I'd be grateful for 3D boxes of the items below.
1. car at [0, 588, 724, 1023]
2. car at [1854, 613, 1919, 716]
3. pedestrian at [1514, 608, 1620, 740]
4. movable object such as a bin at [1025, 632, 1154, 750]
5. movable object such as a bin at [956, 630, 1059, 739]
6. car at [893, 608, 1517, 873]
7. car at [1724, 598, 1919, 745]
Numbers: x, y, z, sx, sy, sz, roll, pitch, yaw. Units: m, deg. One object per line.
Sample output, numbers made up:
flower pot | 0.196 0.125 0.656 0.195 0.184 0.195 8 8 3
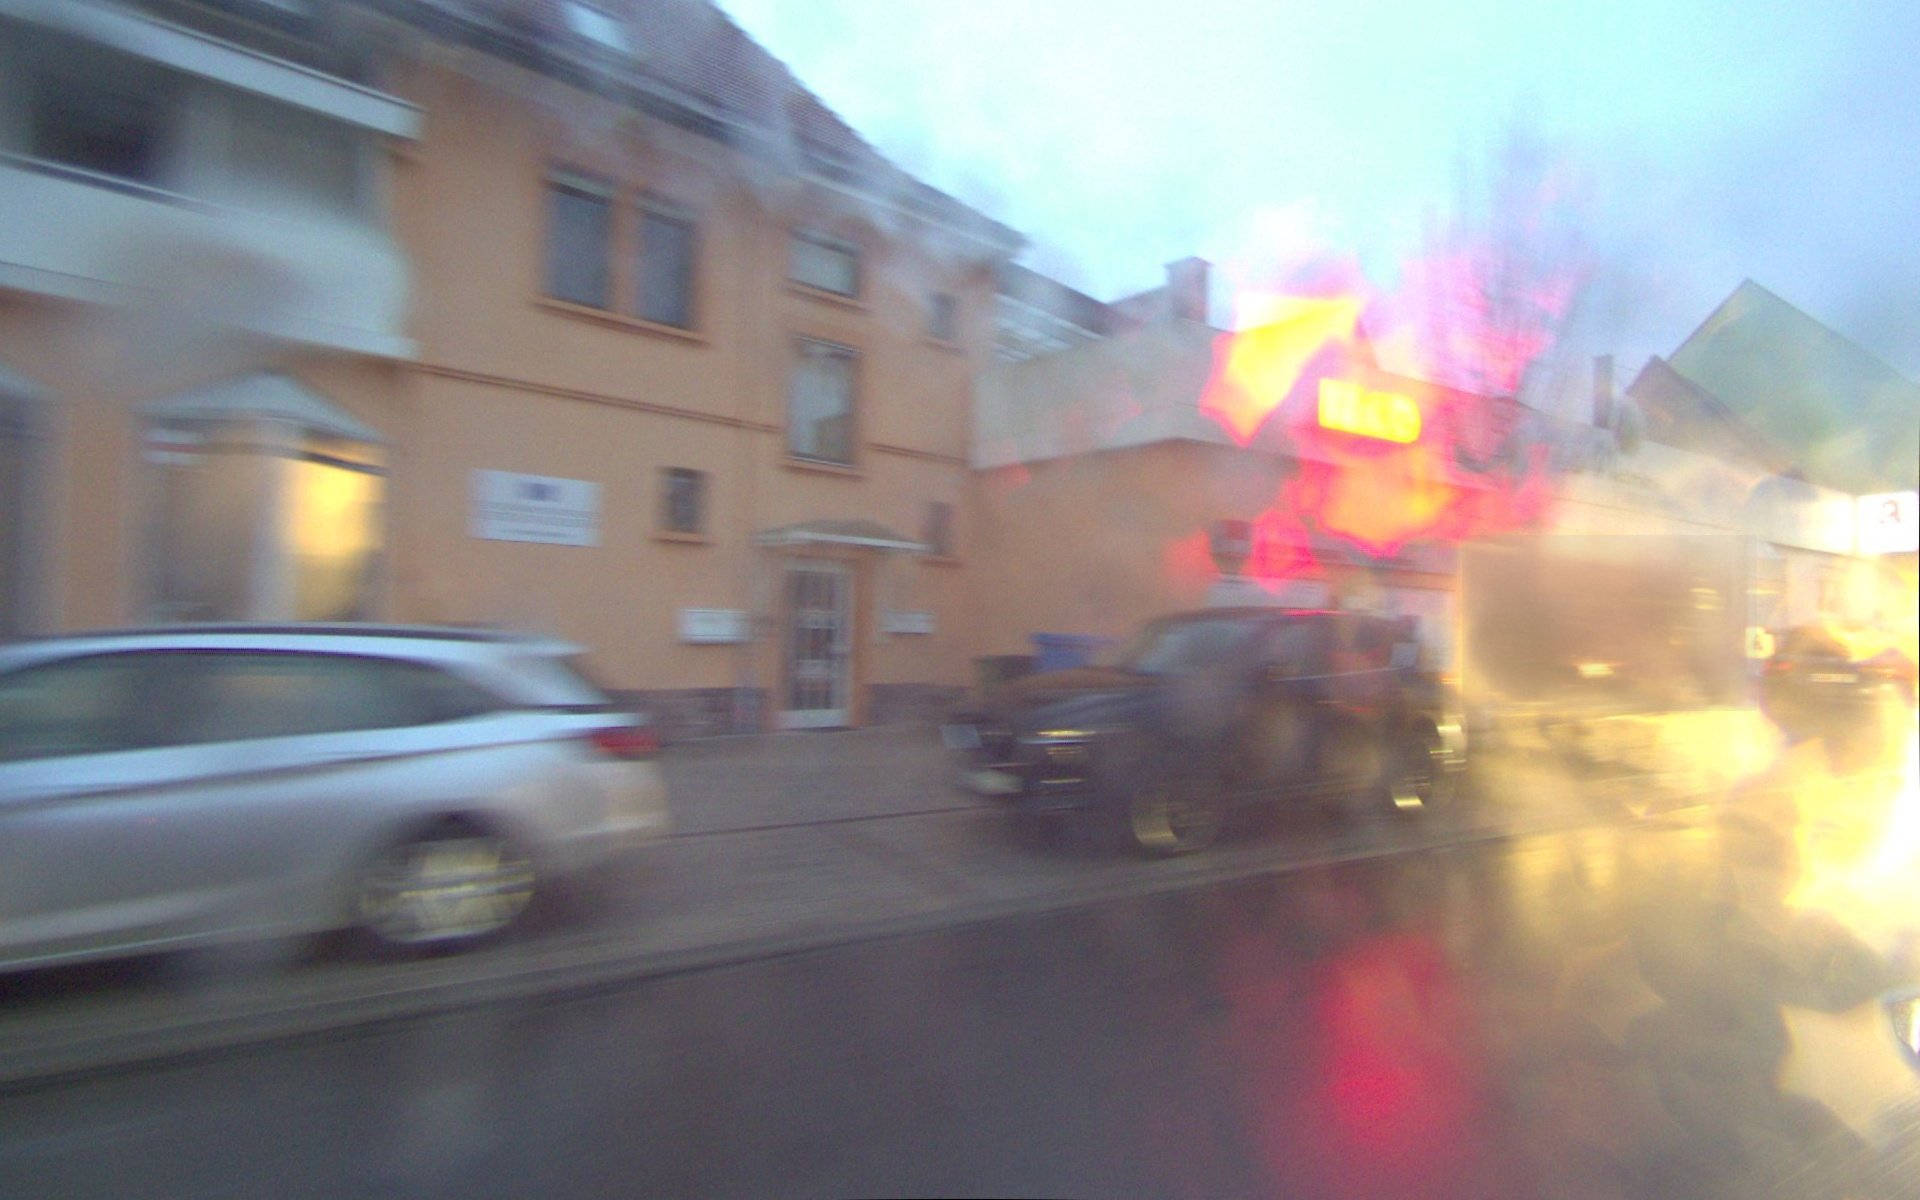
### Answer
car | -3.654 0.755 4.724 4.569 1.579 1.983 2 0 -32
car | 18.279 1.171 18.257 4.662 1.733 1.869 2 0 -33
pedestrian | 9.124 1.085 15.128 0.929 1.901 1.008 1 -1 -20
movable object such as a bin | 1.597 1.108 12.506 0.882 1.371 1.329 2 -5 -41
movable object such as a bin | 0.639 1.115 13.700 0.845 1.372 1.139 1 -1 -42
car | 2.100 0.887 8.007 4.923 1.542 1.983 2 -1 -32
car | 13.290 0.919 14.696 4.976 1.816 2.071 1 0 -37
